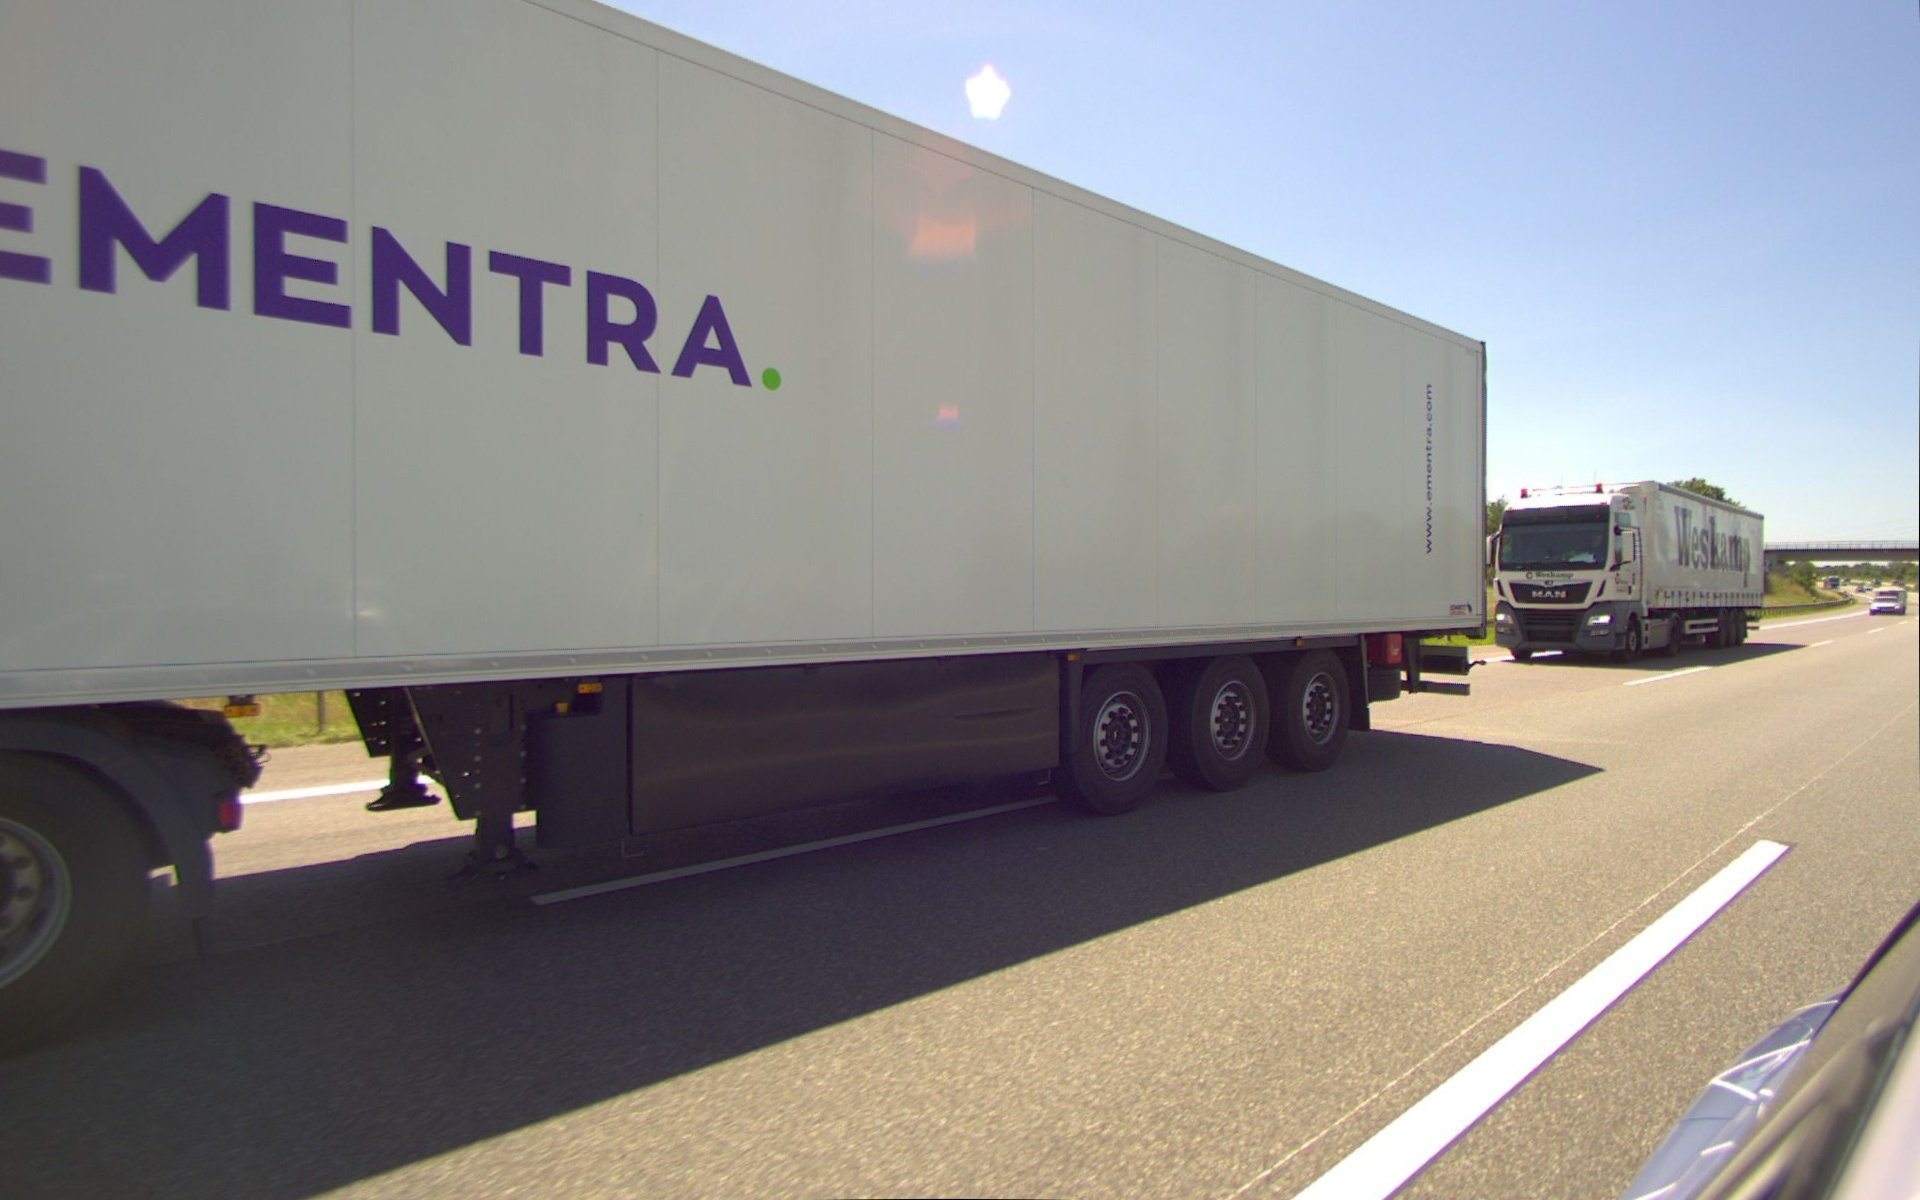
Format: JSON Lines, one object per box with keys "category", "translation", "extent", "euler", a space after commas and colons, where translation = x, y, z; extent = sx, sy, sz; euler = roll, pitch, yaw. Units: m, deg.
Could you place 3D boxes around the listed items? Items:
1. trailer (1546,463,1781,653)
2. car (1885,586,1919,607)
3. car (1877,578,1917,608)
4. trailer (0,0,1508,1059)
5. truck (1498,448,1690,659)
{"category": "trailer", "translation": [20.216, -0.883, 28.479], "extent": [13.407, 4.306, 2.599], "euler": [1, -1, -43]}
{"category": "car", "translation": [70.859, -0.298, 76.161], "extent": [1.778, 1.494, 3.940], "euler": [2, 2, 42]}
{"category": "car", "translation": [75.034, -0.605, 81.110], "extent": [2.181, 2.294, 4.877], "euler": [2, 2, 42]}
{"category": "trailer", "translation": [-0.541, -1.020, 6.989], "extent": [13.740, 4.716, 2.906], "euler": [-1, 0, -41]}
{"category": "truck", "translation": [14.729, -0.955, 23.398], "extent": [5.003, 4.310, 2.603], "euler": [1, 0, -43]}
